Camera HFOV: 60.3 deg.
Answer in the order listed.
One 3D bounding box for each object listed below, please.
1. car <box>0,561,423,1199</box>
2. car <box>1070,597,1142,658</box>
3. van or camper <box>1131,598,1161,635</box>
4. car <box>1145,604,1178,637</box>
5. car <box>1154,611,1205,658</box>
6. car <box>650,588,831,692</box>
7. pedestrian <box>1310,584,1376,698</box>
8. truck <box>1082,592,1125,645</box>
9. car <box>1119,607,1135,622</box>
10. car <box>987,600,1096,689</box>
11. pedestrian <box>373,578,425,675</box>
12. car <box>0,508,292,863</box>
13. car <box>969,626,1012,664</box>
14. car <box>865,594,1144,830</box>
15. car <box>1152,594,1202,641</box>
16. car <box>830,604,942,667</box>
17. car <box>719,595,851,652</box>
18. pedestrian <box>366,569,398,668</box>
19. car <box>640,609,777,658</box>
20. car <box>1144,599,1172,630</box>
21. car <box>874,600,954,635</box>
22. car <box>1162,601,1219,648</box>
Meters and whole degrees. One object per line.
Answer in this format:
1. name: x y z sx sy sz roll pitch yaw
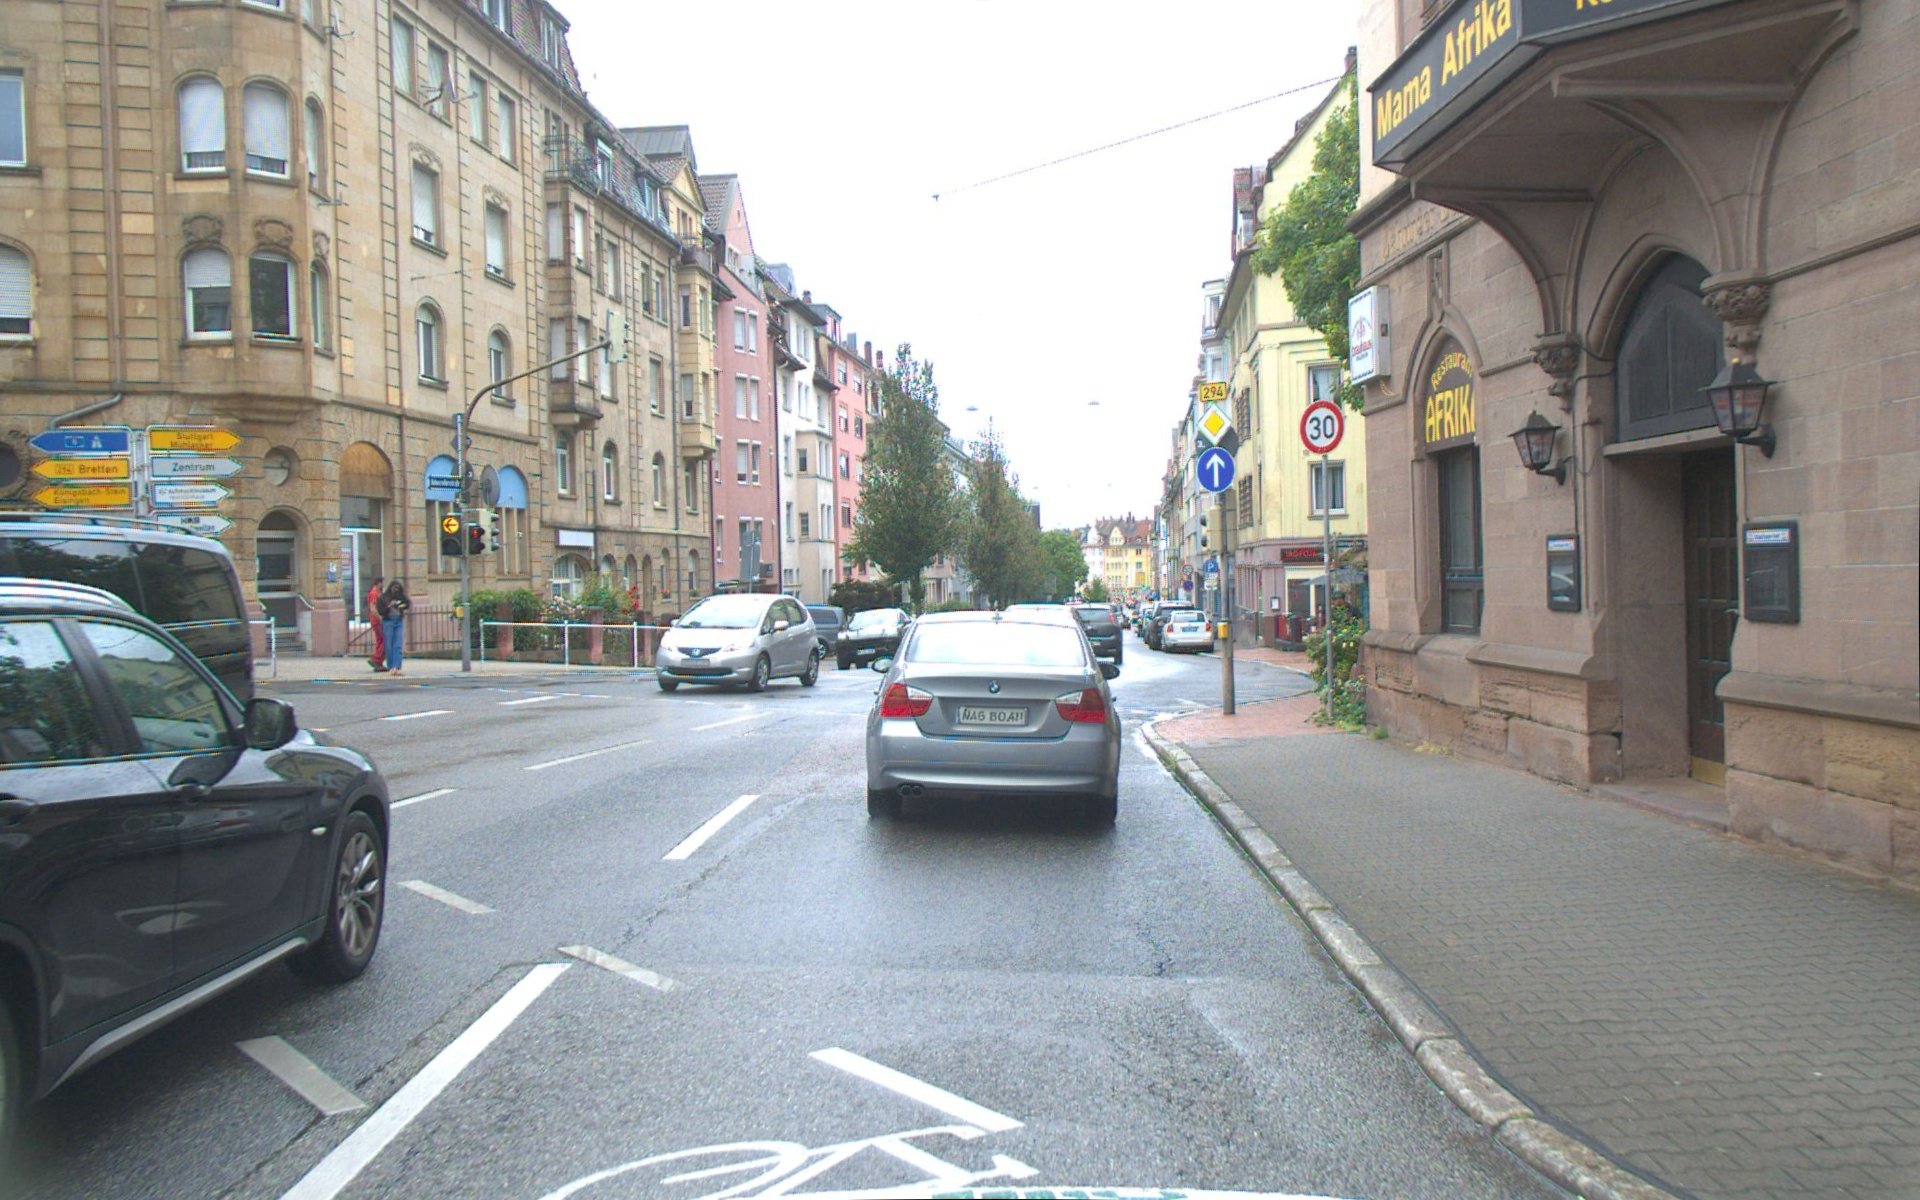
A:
1. car: -3.101 0.709 4.928 1.717 1.562 4.213 0 -1 -2
2. car: 3.731 0.721 42.721 1.662 1.509 3.794 0 -1 2
3. van or camper: 15.106 1.332 133.940 1.990 2.919 6.890 1 0 9
4. car: 13.269 1.333 109.048 1.940 2.042 4.628 -2 -1 6
5. car: 8.566 1.339 64.740 1.839 1.762 4.679 0 -1 6
6. car: -3.451 0.588 26.701 1.590 1.545 3.874 0 0 14
7. pedestrian: 5.926 0.623 25.586 0.812 1.708 0.893 1 0 26
8. truck: 6.890 0.914 79.444 1.989 2.455 4.829 0 -1 5
9. car: 19.861 1.678 196.284 1.839 1.762 4.443 1 0 6
10. car: 1.489 0.758 29.021 1.646 1.453 3.743 0 -1 7
11. pedestrian: -10.180 0.483 30.002 0.815 1.732 0.634 1 0 -24
12. car: -5.818 0.479 9.681 1.705 1.878 4.149 -1 -1 7
13. car: 1.512 2.172 80.151 1.587 1.678 4.422 -4 -1 6
14. car: 0.195 0.738 12.121 1.734 1.453 3.738 0 -1 -3
15. car: 9.244 0.755 70.818 1.879 1.859 5.012 -2 -1 6
16. car: -2.065 1.041 47.813 1.923 1.723 4.811 -1 -2 14
17. car: -6.215 0.827 59.033 4.582 1.972 1.862 1 0 -4
18. pedestrian: -10.713 0.341 30.688 0.514 1.805 0.690 1 0 -18
19. car: -8.174 1.078 53.935 4.059 1.537 1.874 -1 0 6
20. car: 14.795 1.071 123.848 1.940 2.204 4.753 -2 -1 6
21. car: -2.875 1.095 103.392 4.727 2.008 2.049 -2 -1 6
22. car: 8.220 0.864 59.189 1.761 1.592 4.495 0 -1 5
